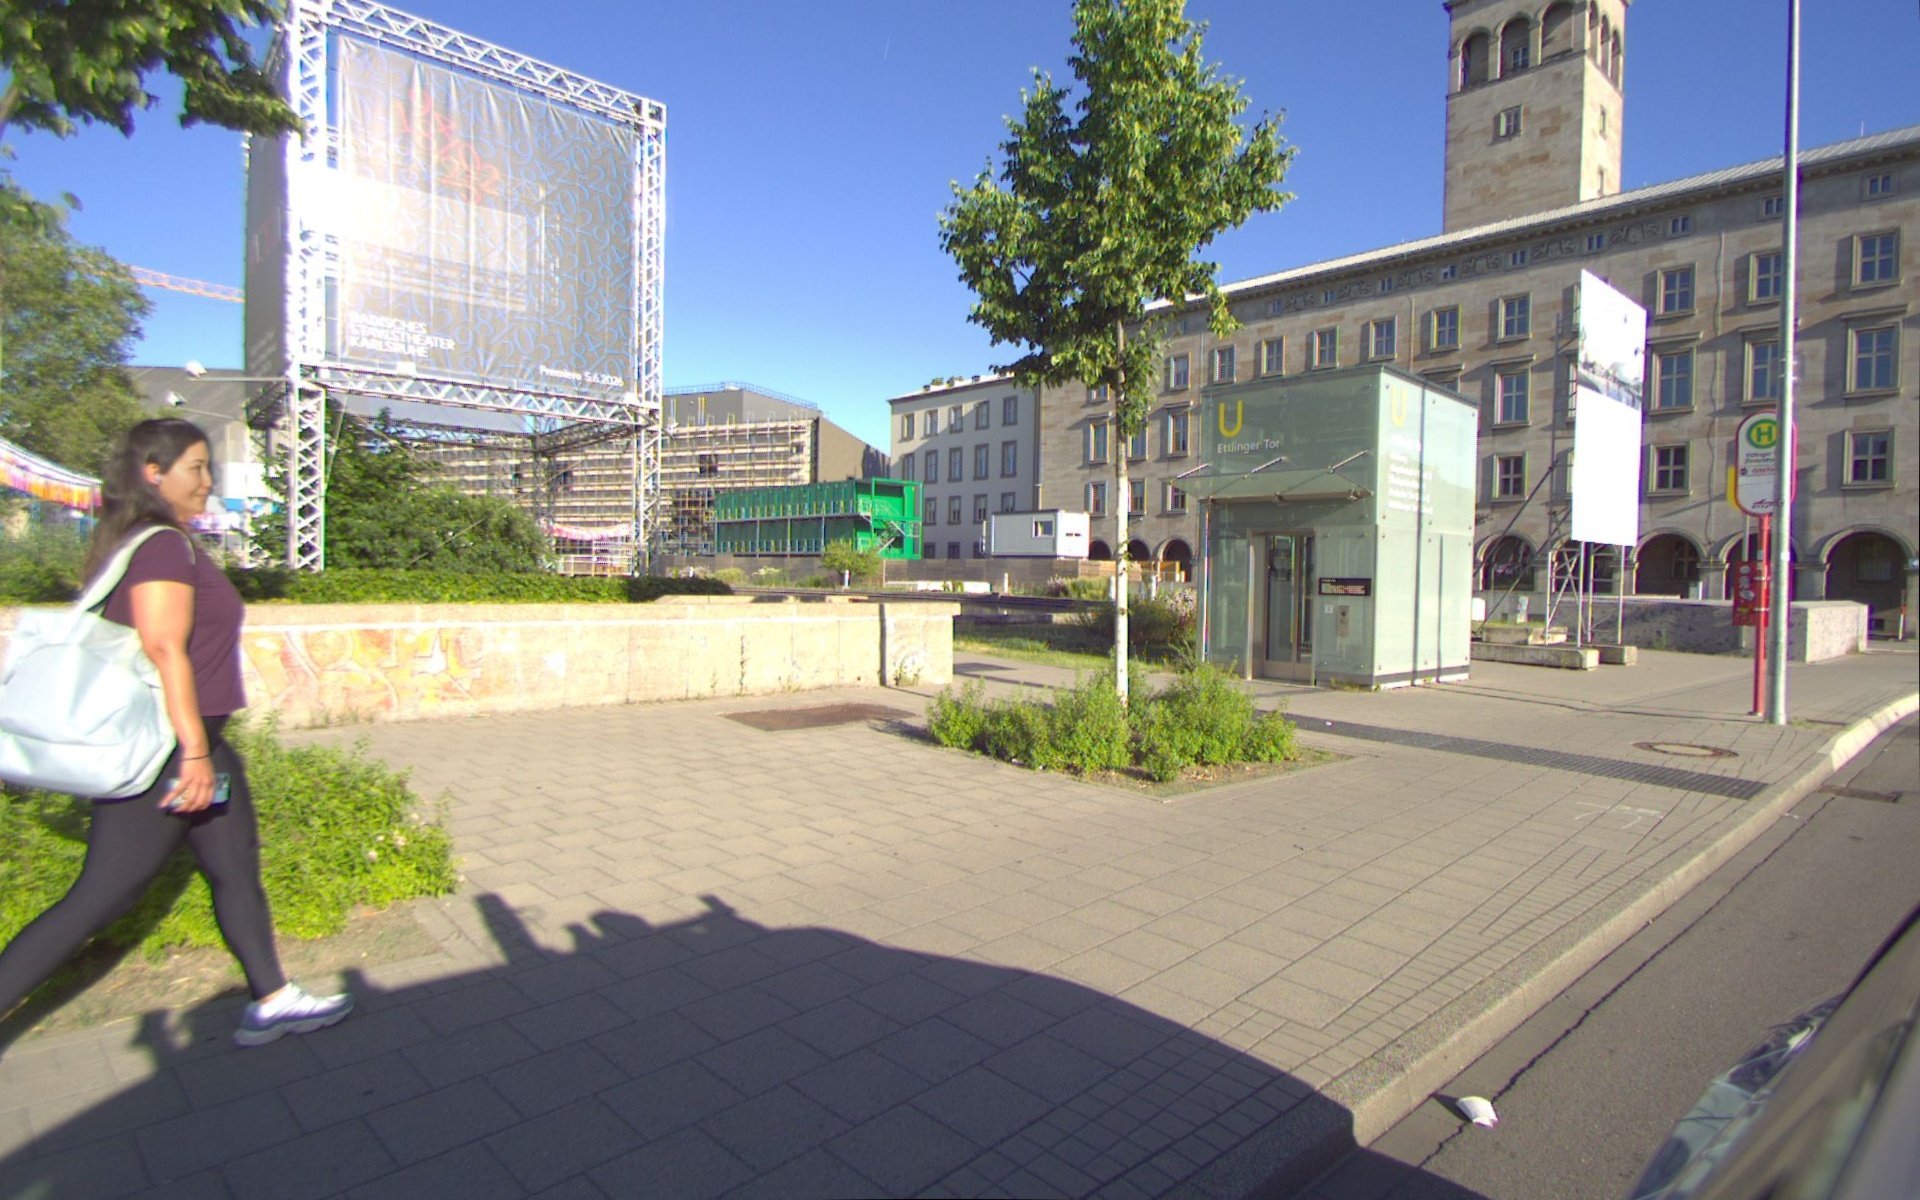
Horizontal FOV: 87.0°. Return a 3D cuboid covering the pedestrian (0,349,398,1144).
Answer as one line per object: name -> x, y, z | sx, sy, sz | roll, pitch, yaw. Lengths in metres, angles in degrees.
pedestrian -> -2.145, 0.315, 2.673 | 1.020, 1.769, 0.826 | 1, 2, -20
